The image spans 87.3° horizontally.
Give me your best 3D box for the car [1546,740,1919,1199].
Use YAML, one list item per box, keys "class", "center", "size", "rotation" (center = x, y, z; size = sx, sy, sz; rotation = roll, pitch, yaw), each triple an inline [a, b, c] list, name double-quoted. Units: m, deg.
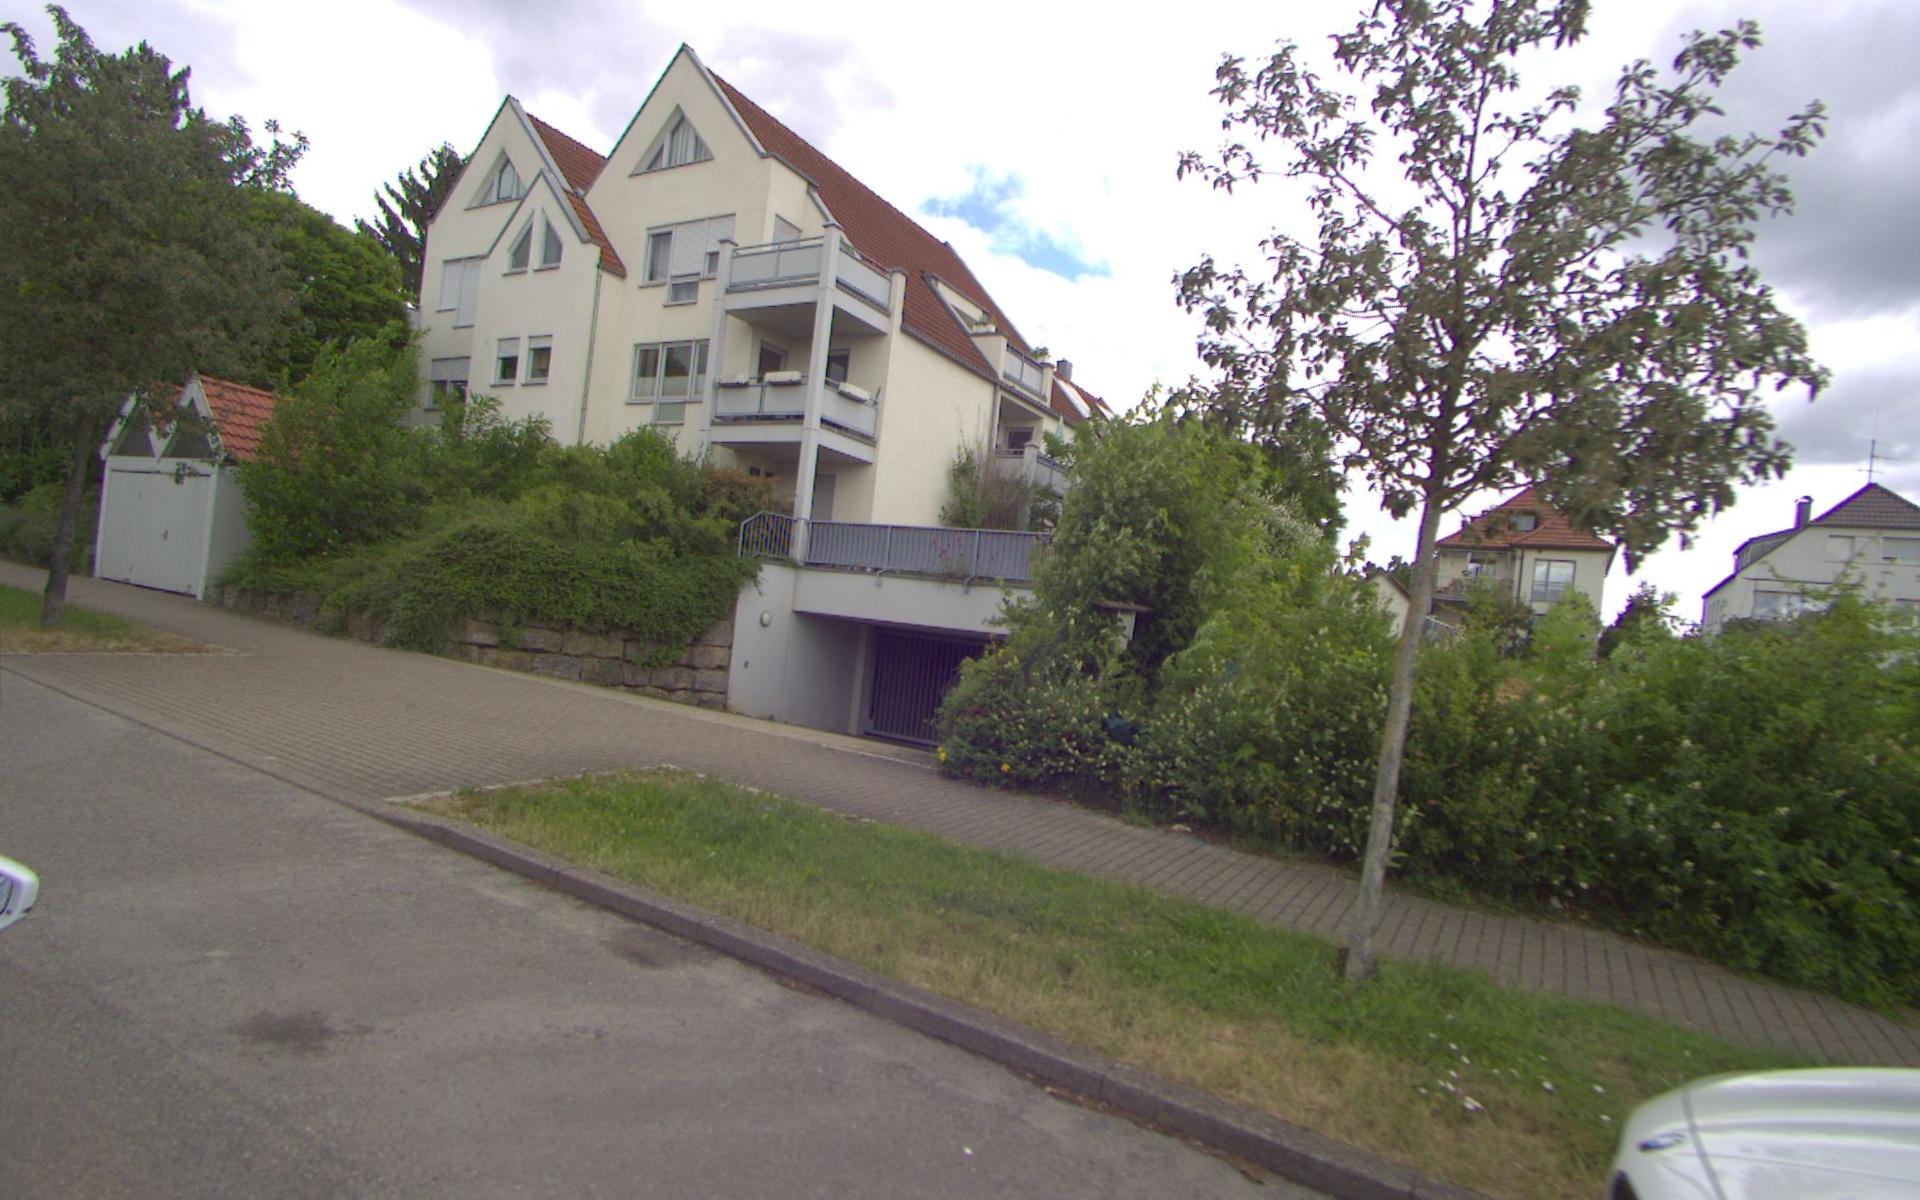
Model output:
- class: "car"
  center: [2.966, 1.212, 0.719]
  size: [4.331, 1.470, 1.697]
  rotation: [7, -2, 31]
